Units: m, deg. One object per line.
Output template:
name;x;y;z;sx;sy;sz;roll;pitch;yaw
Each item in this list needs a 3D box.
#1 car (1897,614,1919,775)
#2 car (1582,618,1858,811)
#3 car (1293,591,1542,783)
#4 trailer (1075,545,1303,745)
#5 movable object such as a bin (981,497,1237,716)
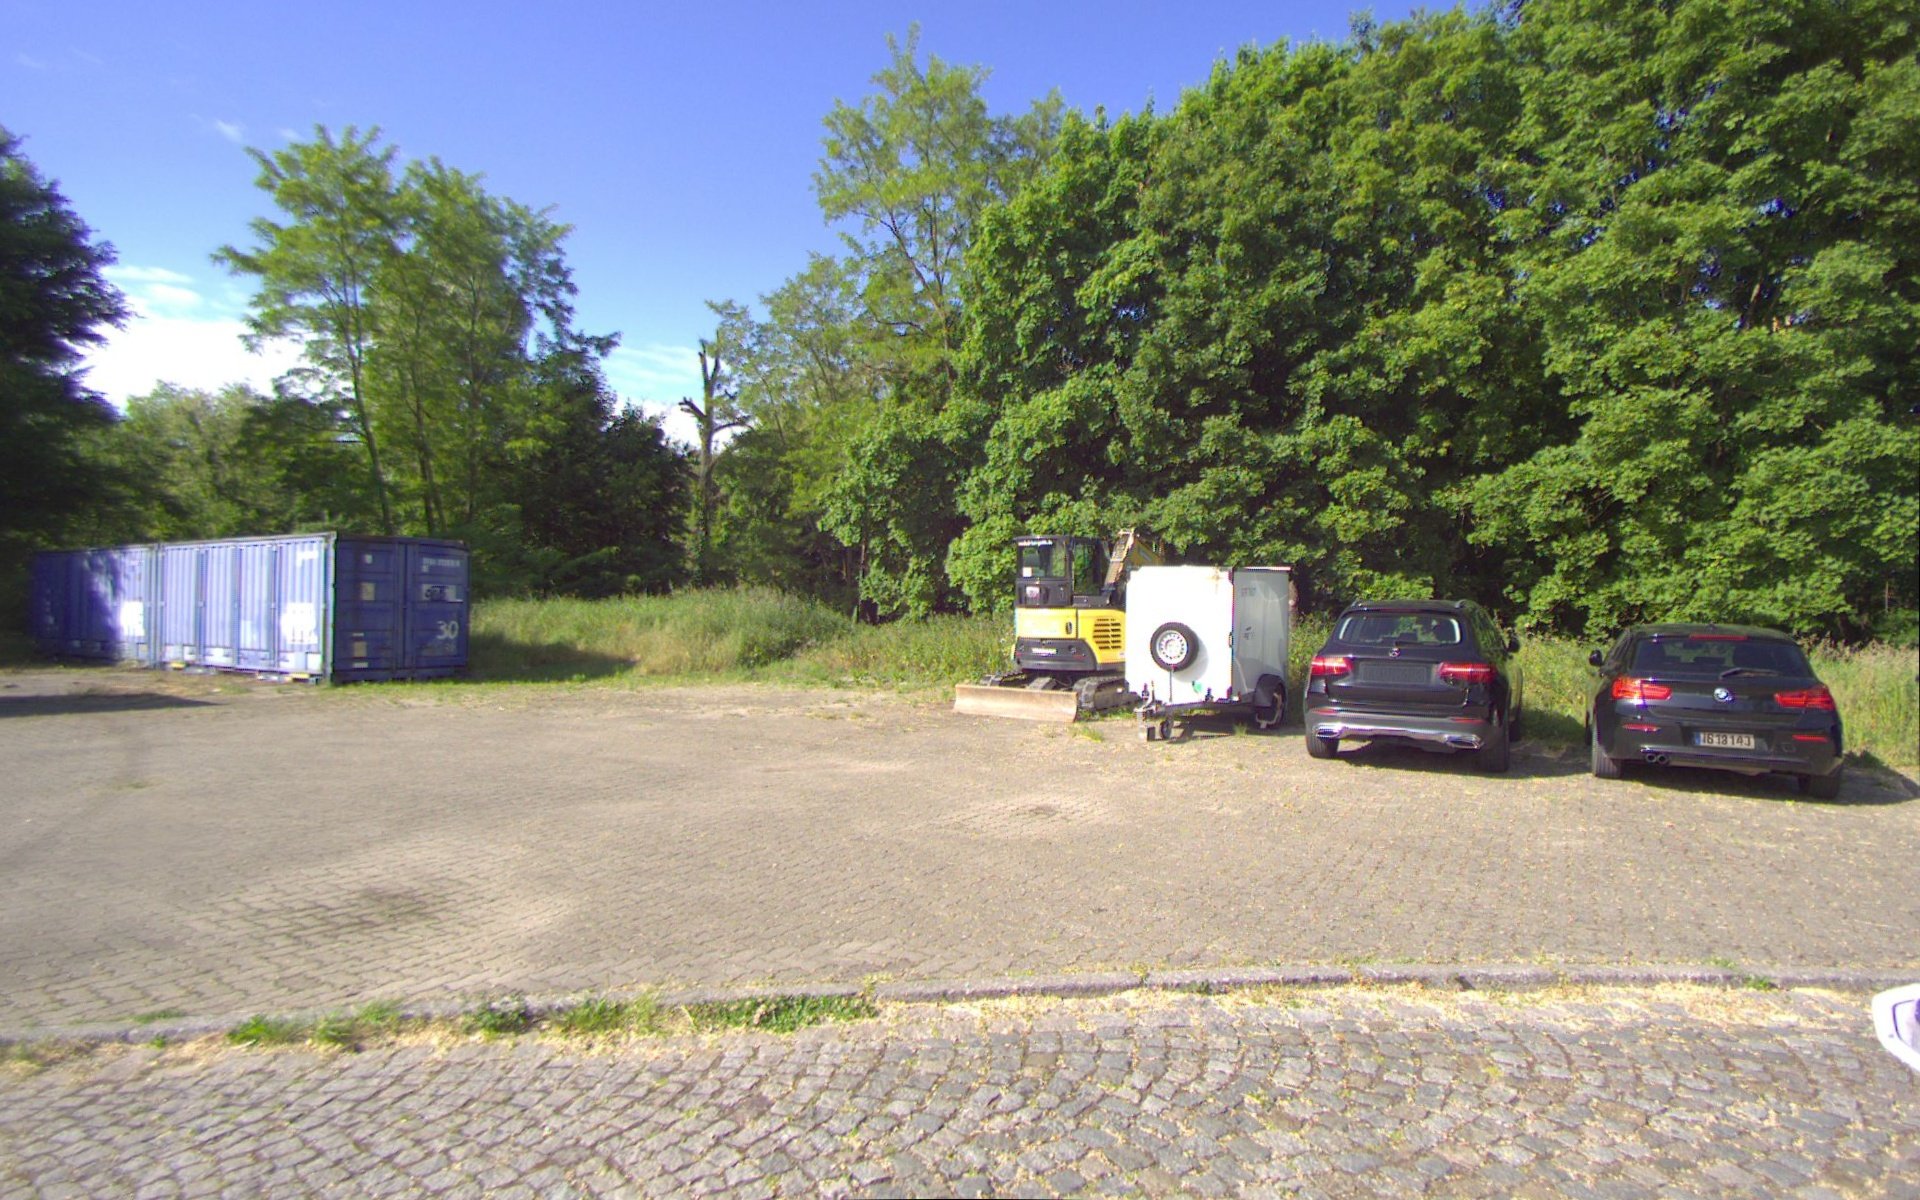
car;9.352;0.910;8.360;1.686;1.513;3.652;1;1;34
car;7.134;0.923;9.795;1.802;1.470;3.655;0;-1;32
car;5.036;0.780;10.766;1.837;1.663;3.809;0;-1;34
trailer;3.050;0.470;12.767;1.611;2.122;3.962;0;0;32
movable object such as a bin;2.631;0.151;16.434;1.968;3.005;5.146;0;-1;36
